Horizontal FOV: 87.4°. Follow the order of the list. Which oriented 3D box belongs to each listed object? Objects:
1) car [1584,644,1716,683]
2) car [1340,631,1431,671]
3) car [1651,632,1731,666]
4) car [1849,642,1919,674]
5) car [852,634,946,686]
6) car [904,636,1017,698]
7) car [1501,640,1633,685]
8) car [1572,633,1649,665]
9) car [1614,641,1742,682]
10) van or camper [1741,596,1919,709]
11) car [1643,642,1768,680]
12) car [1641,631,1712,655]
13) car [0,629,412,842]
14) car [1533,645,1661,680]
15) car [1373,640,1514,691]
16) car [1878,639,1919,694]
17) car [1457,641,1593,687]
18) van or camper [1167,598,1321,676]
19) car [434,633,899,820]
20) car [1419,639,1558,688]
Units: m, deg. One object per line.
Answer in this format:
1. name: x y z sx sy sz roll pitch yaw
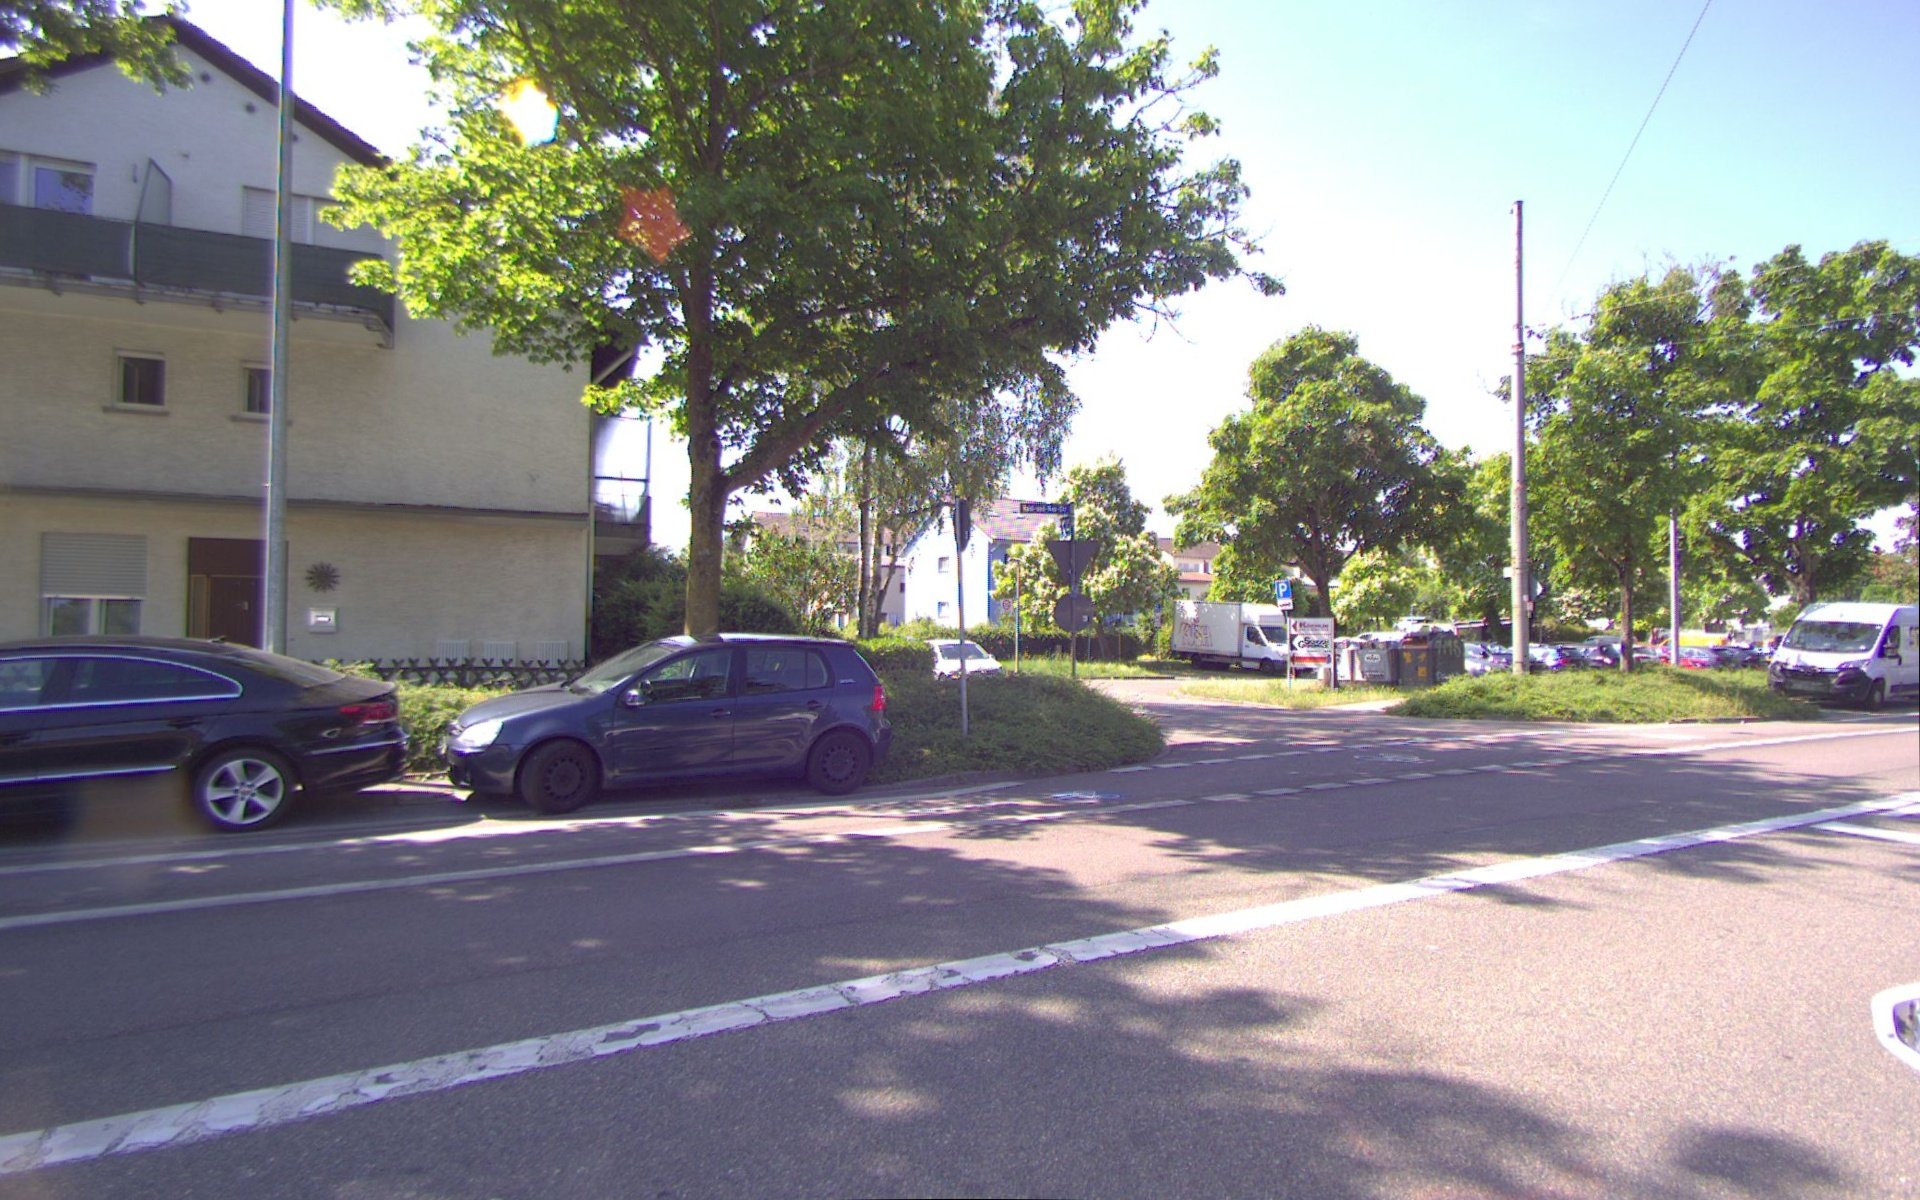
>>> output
1. car: 27.356 2.491 39.949 1.712 1.428 3.969 2 -2 -30
2. car: 21.420 2.541 50.718 1.766 1.916 3.964 2 -2 -33
3. car: 49.156 3.253 67.591 1.890 2.229 3.964 2 -2 -33
4. car: 52.158 3.186 55.717 1.645 1.716 3.967 2 -3 -31
5. car: -2.029 1.888 32.350 1.782 1.545 3.978 1 -3 -23
6. car: -0.071 1.796 27.765 1.781 1.545 3.981 0 -2 -21
7. car: 22.803 2.317 37.893 1.644 1.564 3.969 2 -3 -30
8. car: 43.608 3.259 67.418 1.890 2.029 3.964 1 -2 -33
9. car: 29.476 2.485 41.348 1.644 1.564 3.969 2 -2 -30
10. van or camper: 22.279 1.280 25.025 6.072 2.547 2.248 2 -2 -29
11. car: 31.756 2.569 42.872 1.644 1.564 3.969 2 -3 -30
12. car: 66.469 4.006 93.260 2.077 2.202 4.902 2 -3 -32
13. car: -6.698 0.932 7.506 4.527 1.413 1.689 2 -2 -30
14. car: 24.743 2.405 39.146 1.644 1.287 3.898 2 -3 -30
15. car: 15.871 2.118 33.158 1.645 1.564 3.967 2 -3 -31
16. car: 27.838 1.836 28.047 4.829 1.474 1.923 2 -2 -31
17. car: 20.159 2.252 36.008 1.645 1.564 3.967 2 -3 -31
18. van or camper: 12.874 1.640 46.084 2.553 3.287 6.913 2 -2 -31
19. car: -2.741 1.065 9.620 4.033 1.470 1.609 1 -2 -29
20. car: 18.034 2.130 34.431 1.645 1.564 3.967 2 -3 -31
